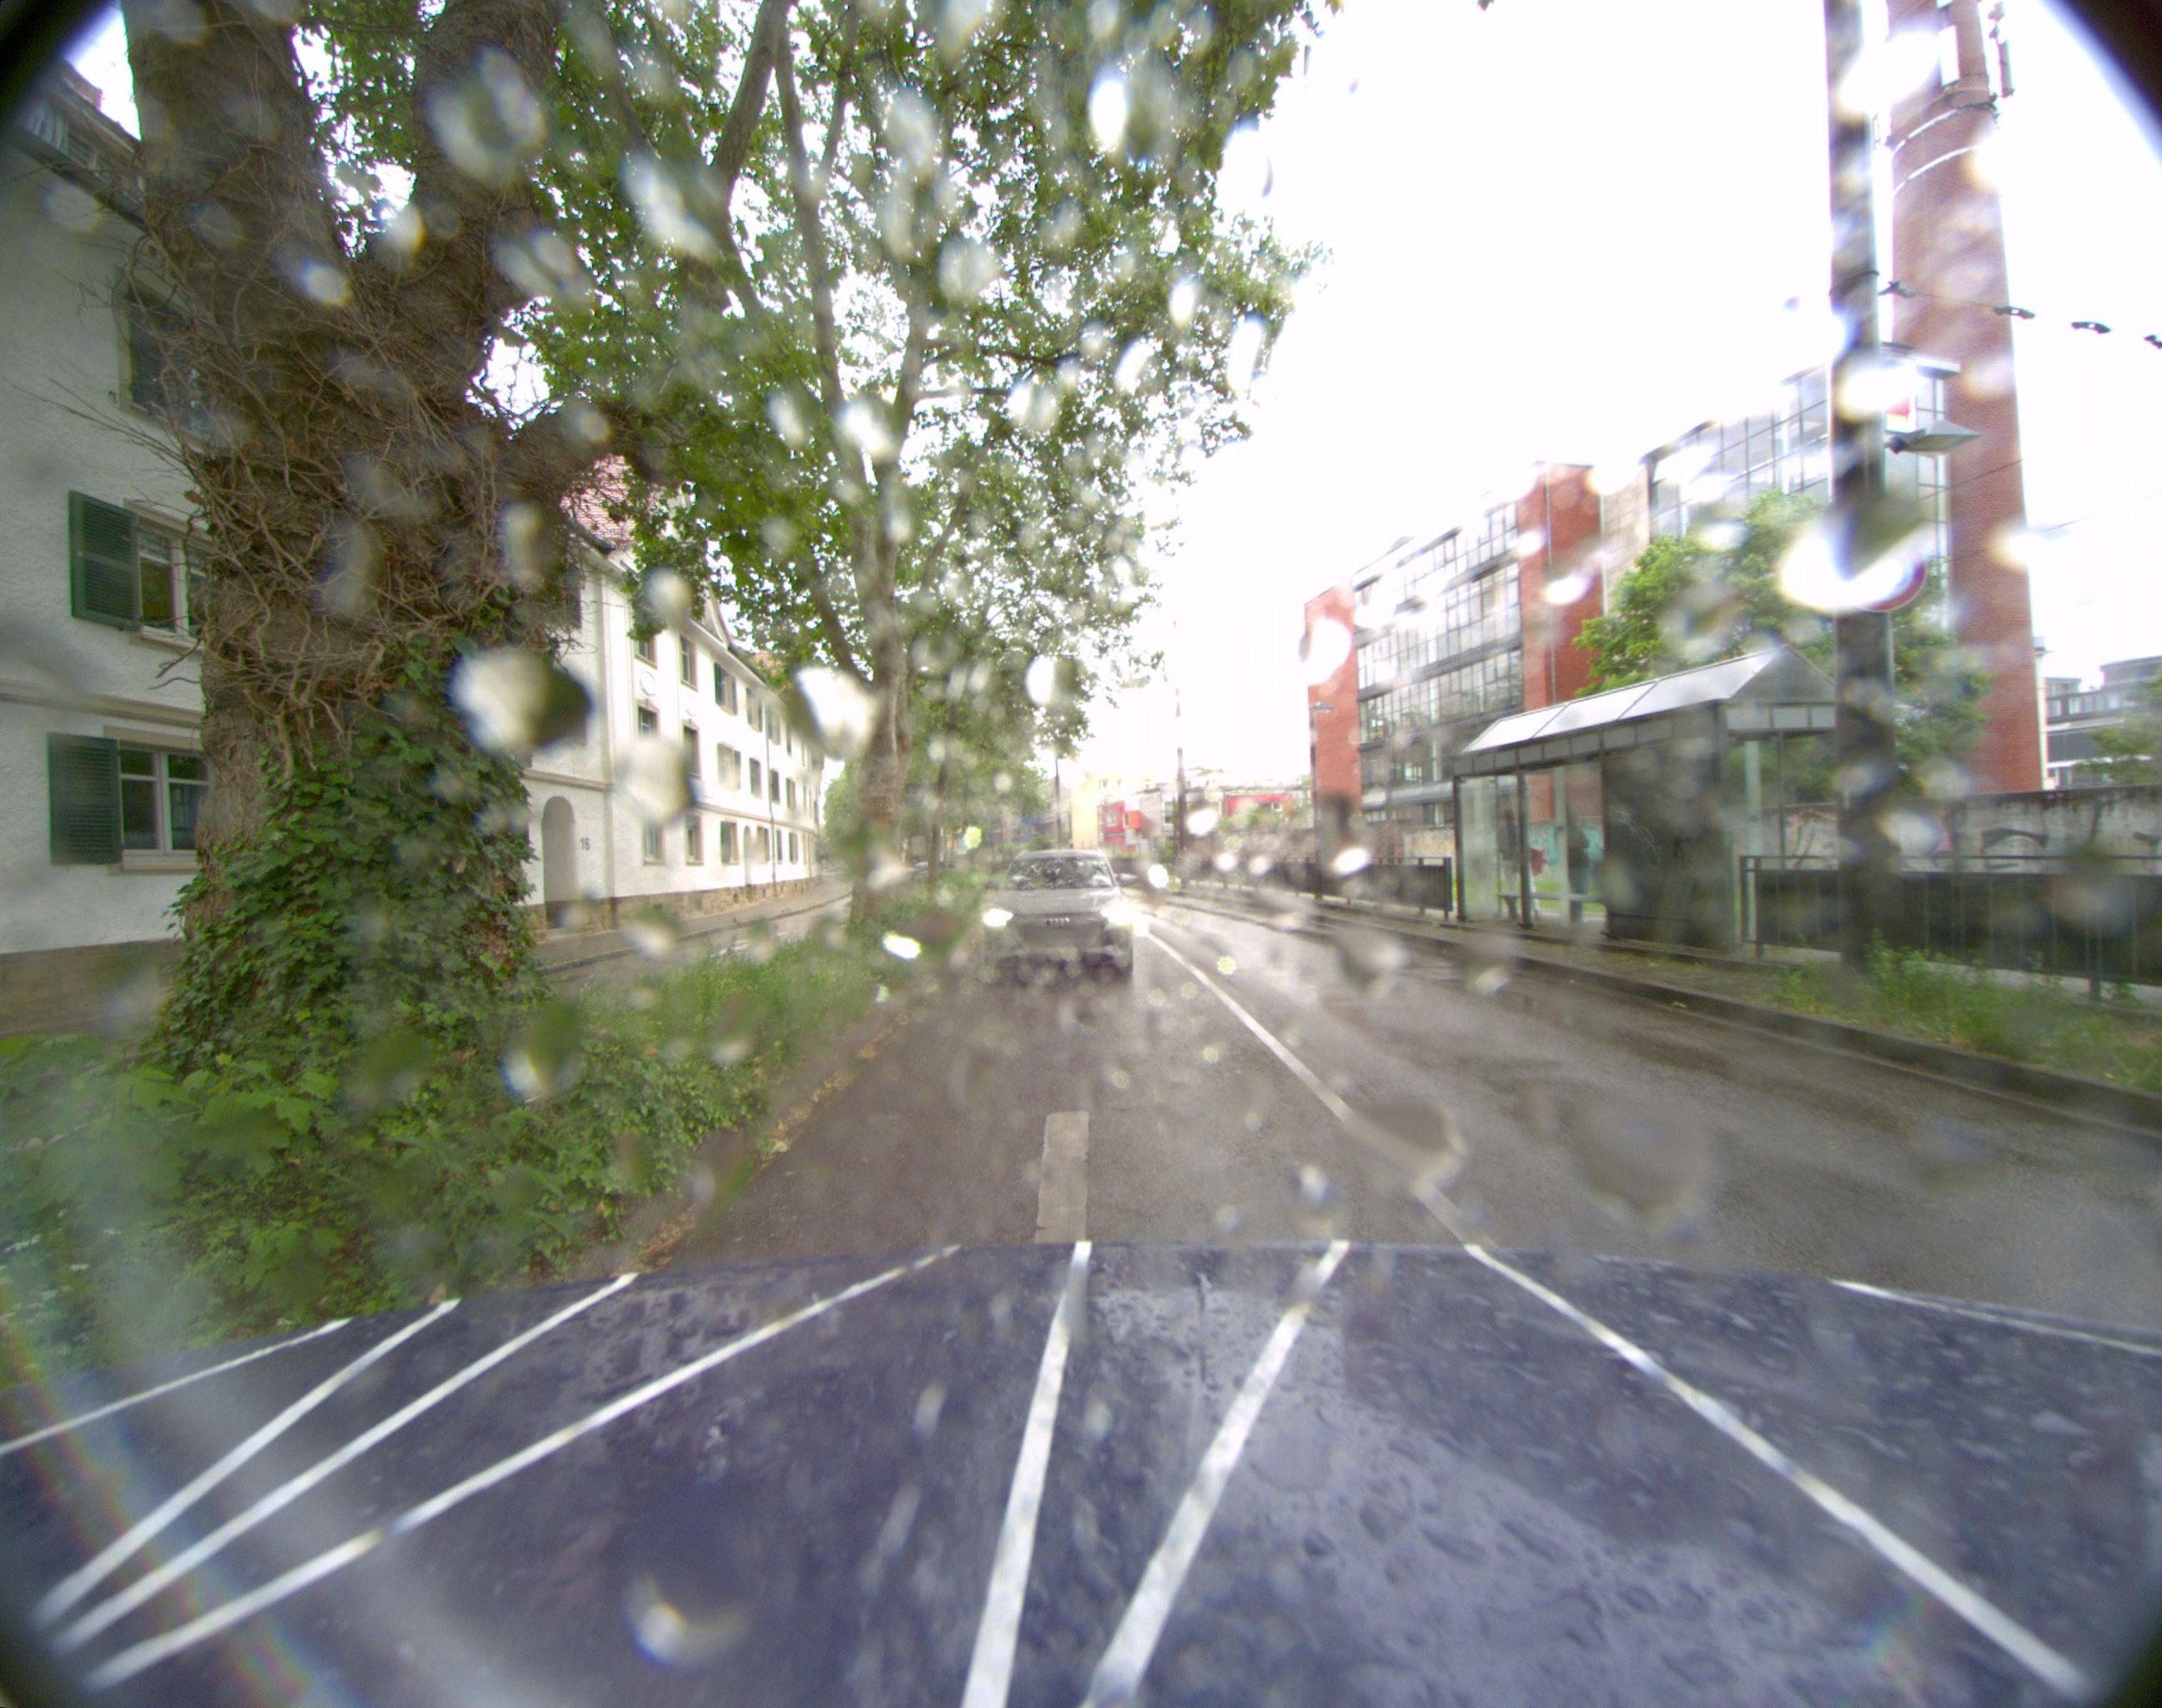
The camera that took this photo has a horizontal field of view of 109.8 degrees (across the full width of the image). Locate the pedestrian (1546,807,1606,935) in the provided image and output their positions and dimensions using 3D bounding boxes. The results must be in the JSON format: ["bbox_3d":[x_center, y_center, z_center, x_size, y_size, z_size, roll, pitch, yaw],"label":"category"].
[{"bbox_3d":[6.895,0.231,10.581,0.584,1.721,0.566,-1,1,-43],"label":"pedestrian"}]

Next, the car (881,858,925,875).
[{"bbox_3d":[-22.200,1.516,94.778,4.884,2.002,2.002,-1,0,11],"label":"car"}]

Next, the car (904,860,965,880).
[{"bbox_3d":[-11.490,1.263,59.610,4.224,1.532,1.932,-1,0,11],"label":"car"}]

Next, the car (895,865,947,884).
[{"bbox_3d":[-14.761,1.891,70.248,4.328,1.603,1.749,-1,0,6],"label":"car"}]

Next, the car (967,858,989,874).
[{"bbox_3d":[-11.826,1.348,87.081,1.694,1.713,3.685,-1,0,-20],"label":"car"}]

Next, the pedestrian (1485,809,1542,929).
[{"bbox_3d":[6.445,0.219,11.317,0.584,1.721,0.566,-1,1,-41],"label":"pedestrian"}]

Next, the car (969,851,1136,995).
[{"bbox_3d":[-0.209,0.779,10.717,1.850,1.586,4.217,-2,0,3],"label":"car"}]
